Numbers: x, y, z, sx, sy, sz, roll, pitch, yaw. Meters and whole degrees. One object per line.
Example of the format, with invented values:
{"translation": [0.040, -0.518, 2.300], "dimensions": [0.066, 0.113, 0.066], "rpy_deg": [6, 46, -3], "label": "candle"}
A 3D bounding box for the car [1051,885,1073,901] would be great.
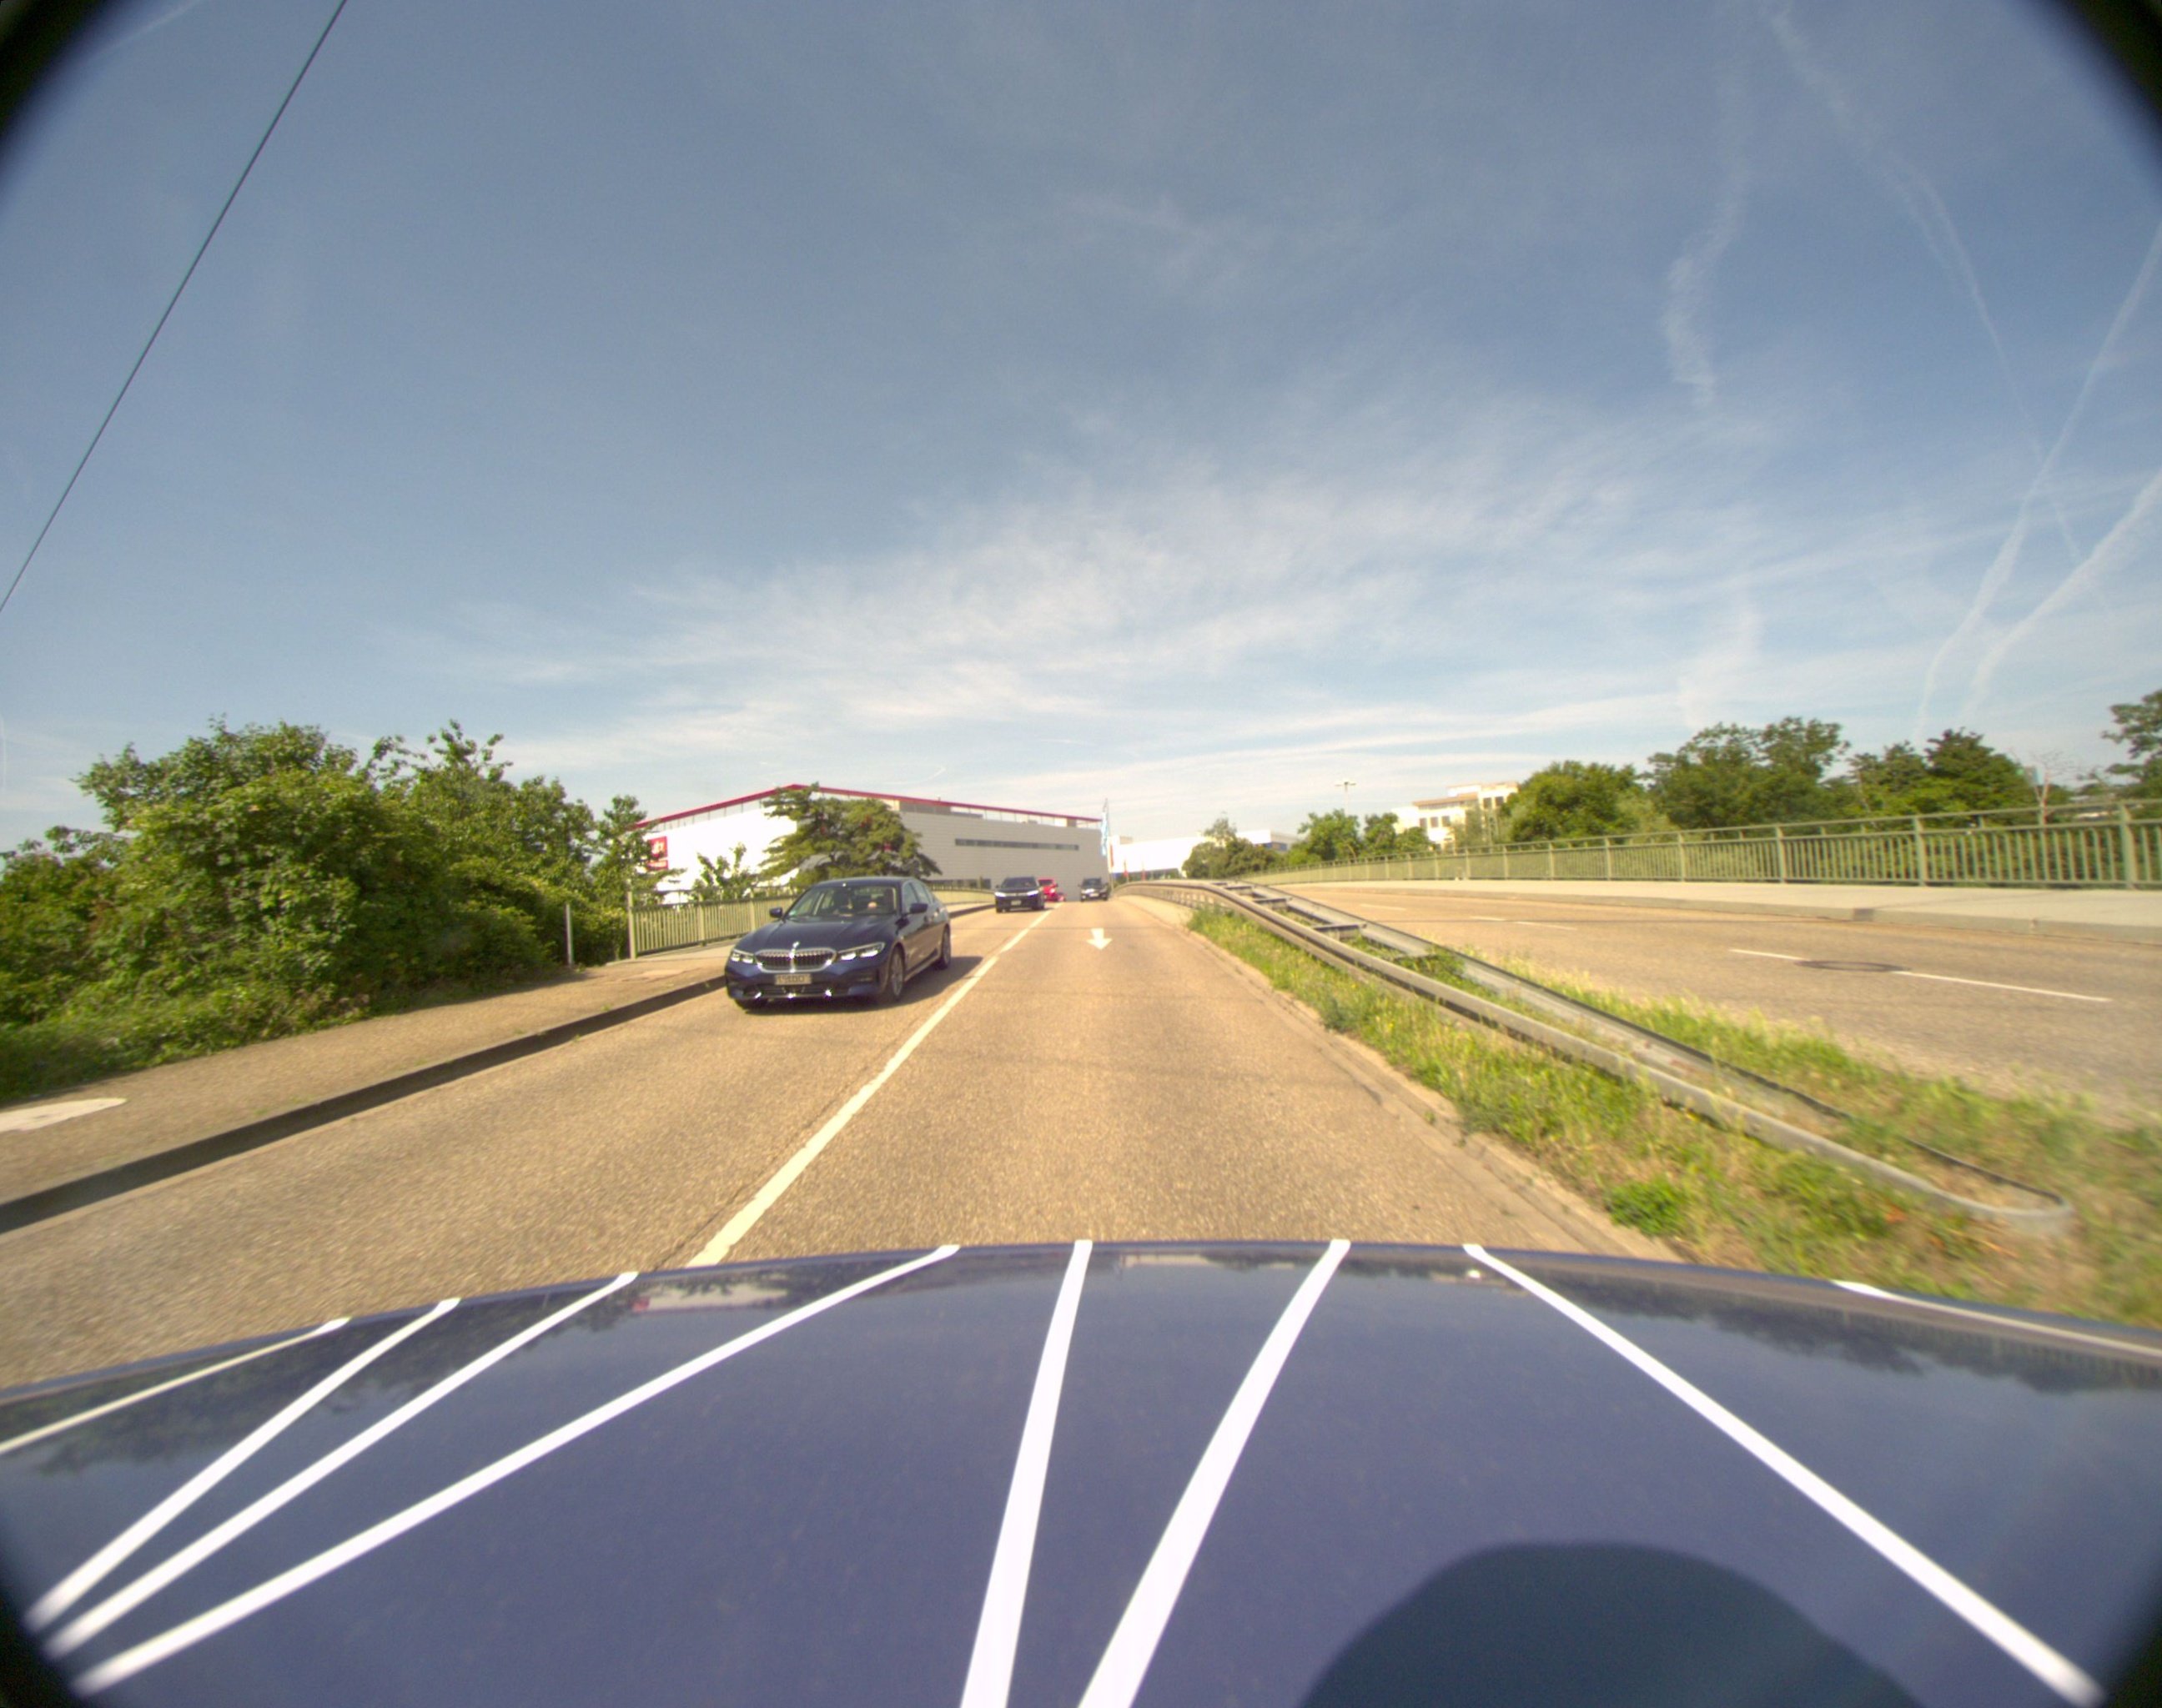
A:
{"translation": [-1.984, 4.124, 80.465], "dimensions": [1.776, 1.648, 4.147], "rpy_deg": [-2, -3, 5], "label": "car"}

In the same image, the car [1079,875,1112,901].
{"translation": [0.846, 2.032, 45.461], "dimensions": [1.849, 1.409, 4.001], "rpy_deg": [-2, -2, 1], "label": "car"}

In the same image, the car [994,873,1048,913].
{"translation": [-2.504, 1.654, 32.808], "dimensions": [1.861, 1.520, 4.145], "rpy_deg": [-3, -2, 1], "label": "car"}

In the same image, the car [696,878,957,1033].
{"translation": [-2.973, 1.141, 10.019], "dimensions": [1.792, 1.474, 4.522], "rpy_deg": [-4, -3, 1], "label": "car"}

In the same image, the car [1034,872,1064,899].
{"translation": [-2.496, 2.533, 59.984], "dimensions": [1.988, 1.894, 4.147], "rpy_deg": [-4, -3, 1], "label": "car"}
